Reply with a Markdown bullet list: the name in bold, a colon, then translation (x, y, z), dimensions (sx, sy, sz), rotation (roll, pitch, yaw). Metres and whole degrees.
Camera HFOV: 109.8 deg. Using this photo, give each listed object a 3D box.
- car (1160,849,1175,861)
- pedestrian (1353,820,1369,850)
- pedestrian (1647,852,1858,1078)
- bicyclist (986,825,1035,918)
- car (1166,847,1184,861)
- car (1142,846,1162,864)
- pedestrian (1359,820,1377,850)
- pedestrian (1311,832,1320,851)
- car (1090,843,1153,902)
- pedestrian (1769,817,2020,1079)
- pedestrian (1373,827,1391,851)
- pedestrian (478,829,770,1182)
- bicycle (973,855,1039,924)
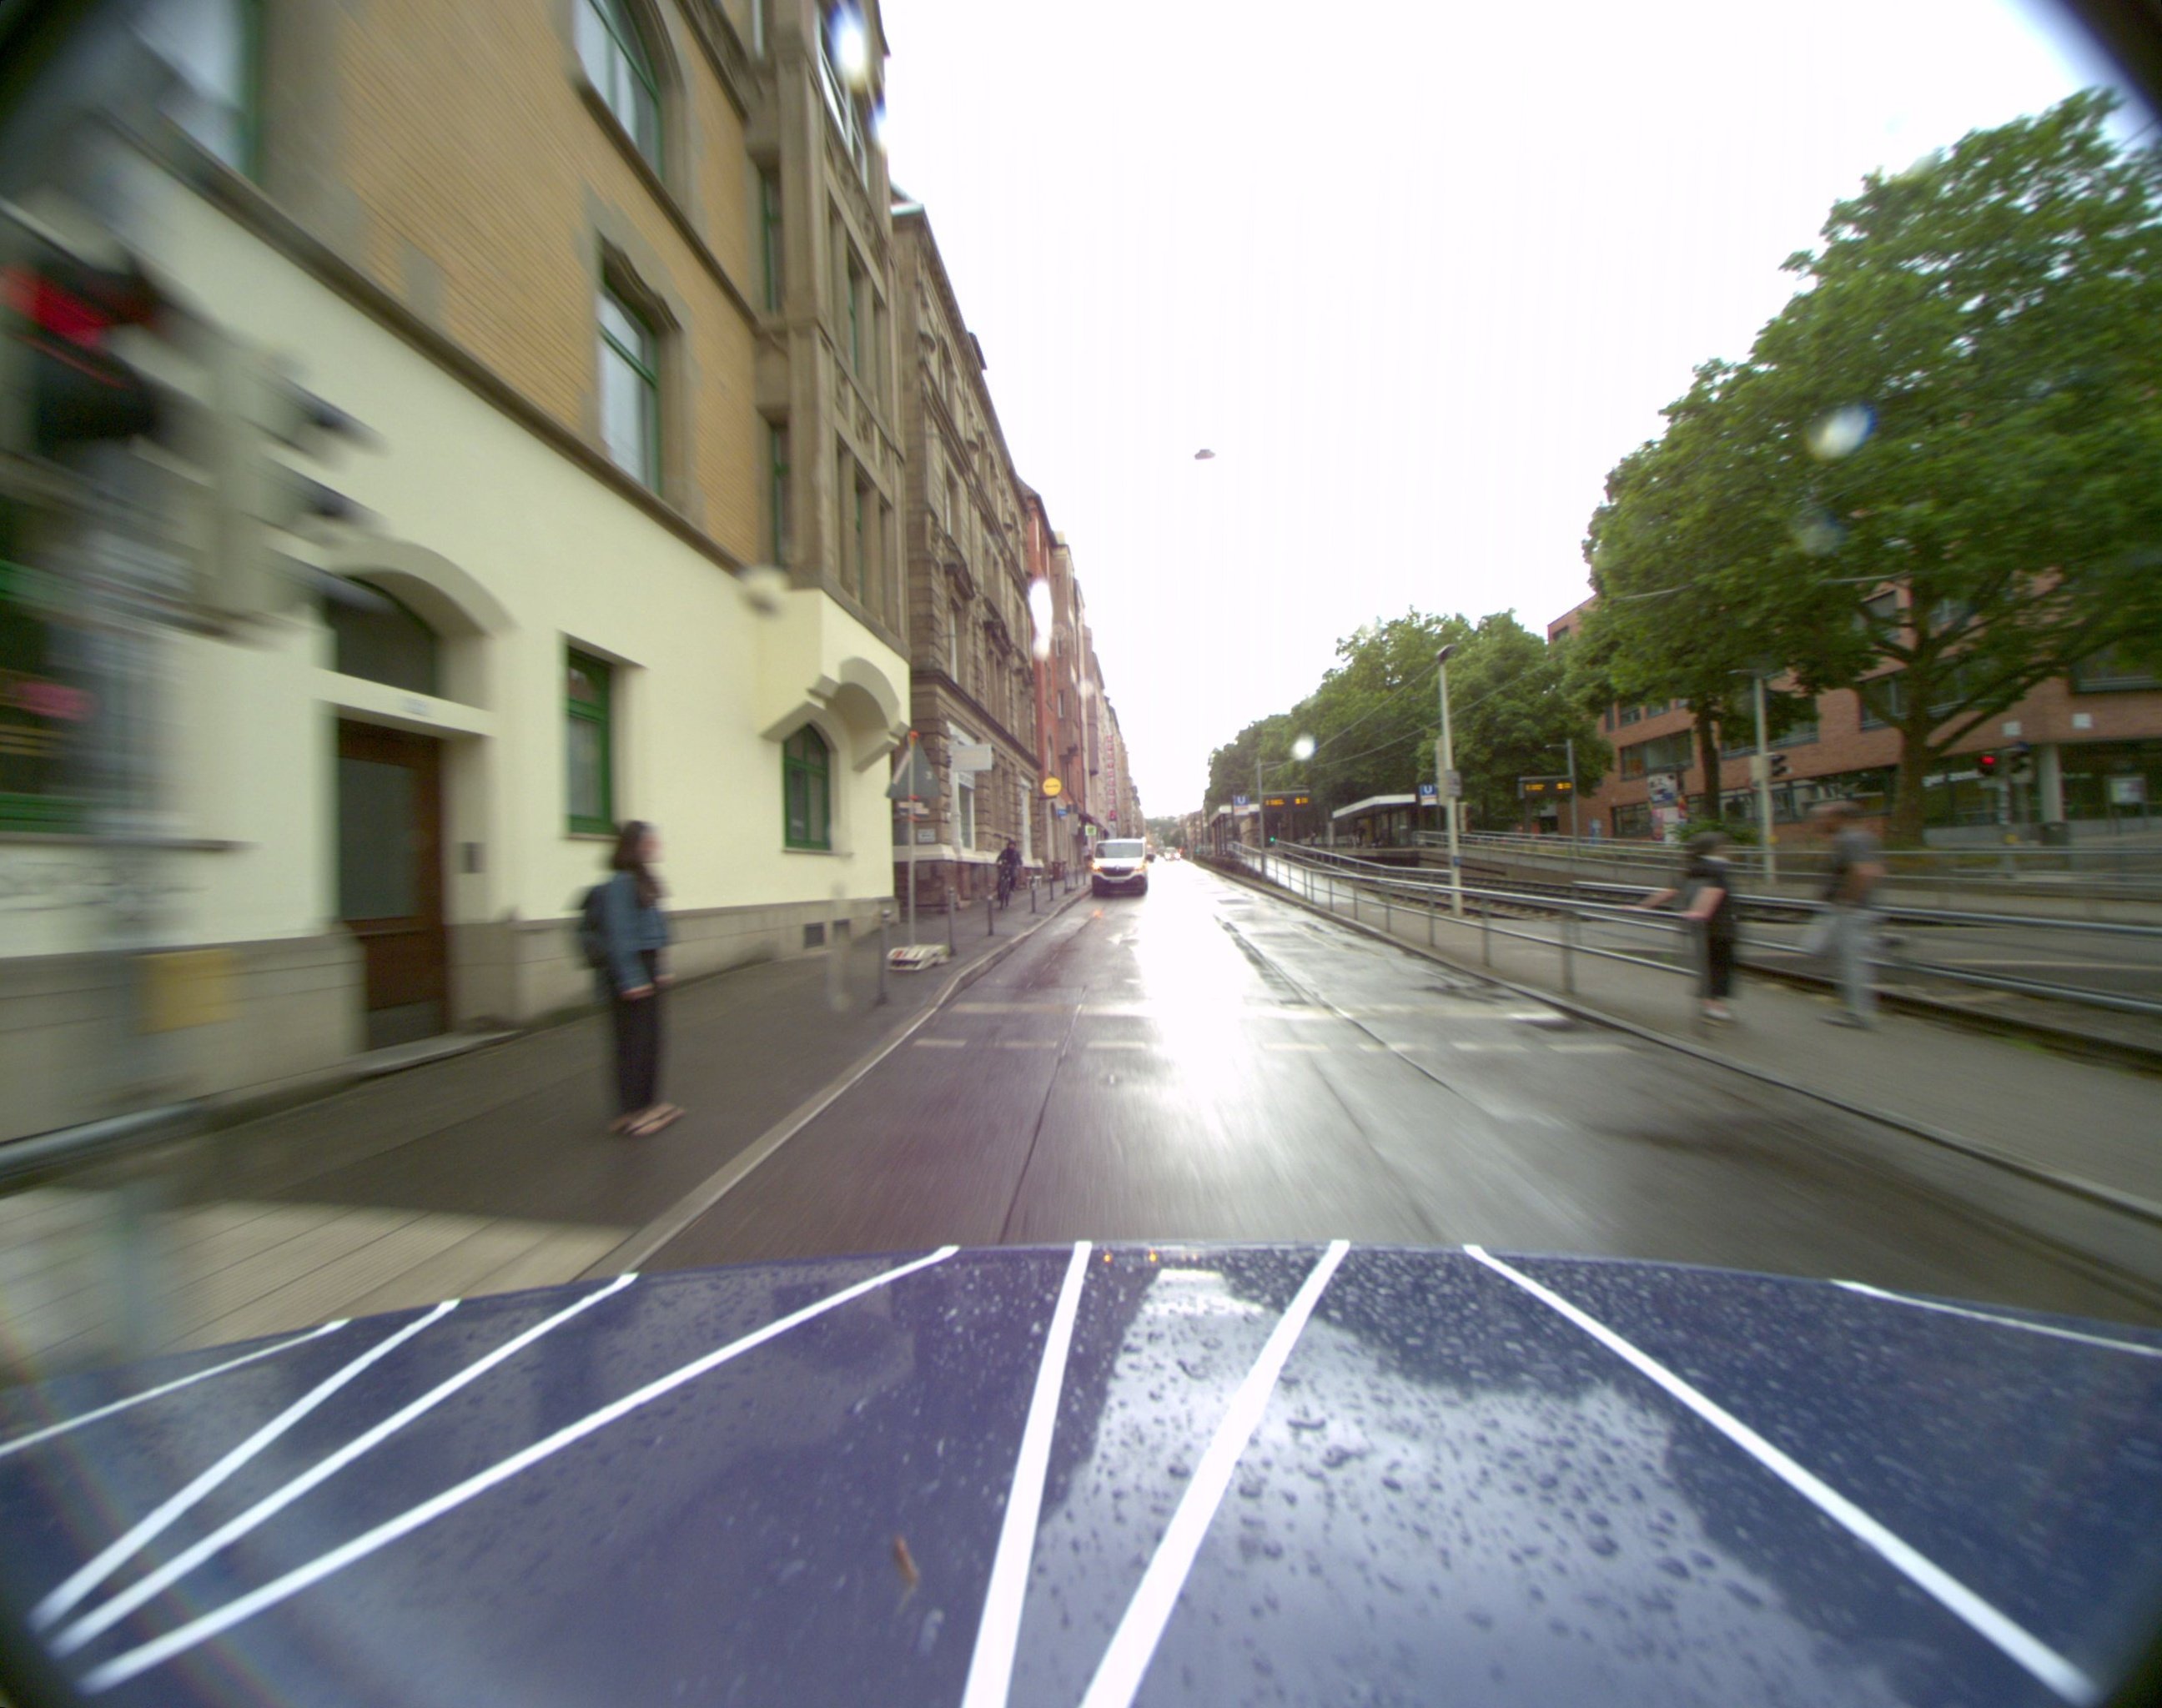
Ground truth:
- **car**: translation (11.603, 0.093, 102.478), dimensions (1.883, 1.439, 4.001), rotation (-2, 1, 5)
- **pedestrian**: translation (19.682, -1.314, 53.409), dimensions (0.836, 2.050, 0.884), rotation (-1, 1, 2)
- **pedestrian**: translation (5.186, 0.796, 5.955), dimensions (0.836, 1.595, 1.002), rotation (-1, 1, 10)
- **bicyclist**: translation (-1.757, 0.429, 19.131), dimensions (0.920, 2.250, 1.288), rotation (-1, 1, 7)
- **car**: translation (10.661, -0.005, 86.385), dimensions (1.883, 1.439, 4.001), rotation (-2, 1, 5)
- **car**: translation (7.903, 0.064, 84.802), dimensions (1.883, 1.838, 4.000), rotation (-2, 1, 3)
- **pedestrian**: translation (19.679, -1.312, 52.121), dimensions (0.836, 2.050, 0.884), rotation (-1, 1, 2)
- **pedestrian**: translation (21.407, -1.129, 69.370), dimensions (0.676, 1.780, 0.703), rotation (-1, 1, 6)
- **car**: translation (1.628, 0.587, 28.367), dimensions (1.824, 1.893, 5.993), rotation (-3, 1, 8)
- **pedestrian**: translation (6.029, 0.643, 5.711), dimensions (0.827, 1.788, 1.001), rotation (-1, 1, 4)
- **pedestrian**: translation (19.212, -0.949, 48.553), dimensions (0.781, 1.475, 0.884), rotation (-1, 1, 2)
- **pedestrian**: translation (-2.475, 0.737, 4.236), dimensions (1.019, 1.711, 0.931), rotation (2, 1, 7)
- **bicycle**: translation (-1.823, 0.818, 19.148), dimensions (0.936, 1.545, 3.136), rotation (-2, 0, 7)
